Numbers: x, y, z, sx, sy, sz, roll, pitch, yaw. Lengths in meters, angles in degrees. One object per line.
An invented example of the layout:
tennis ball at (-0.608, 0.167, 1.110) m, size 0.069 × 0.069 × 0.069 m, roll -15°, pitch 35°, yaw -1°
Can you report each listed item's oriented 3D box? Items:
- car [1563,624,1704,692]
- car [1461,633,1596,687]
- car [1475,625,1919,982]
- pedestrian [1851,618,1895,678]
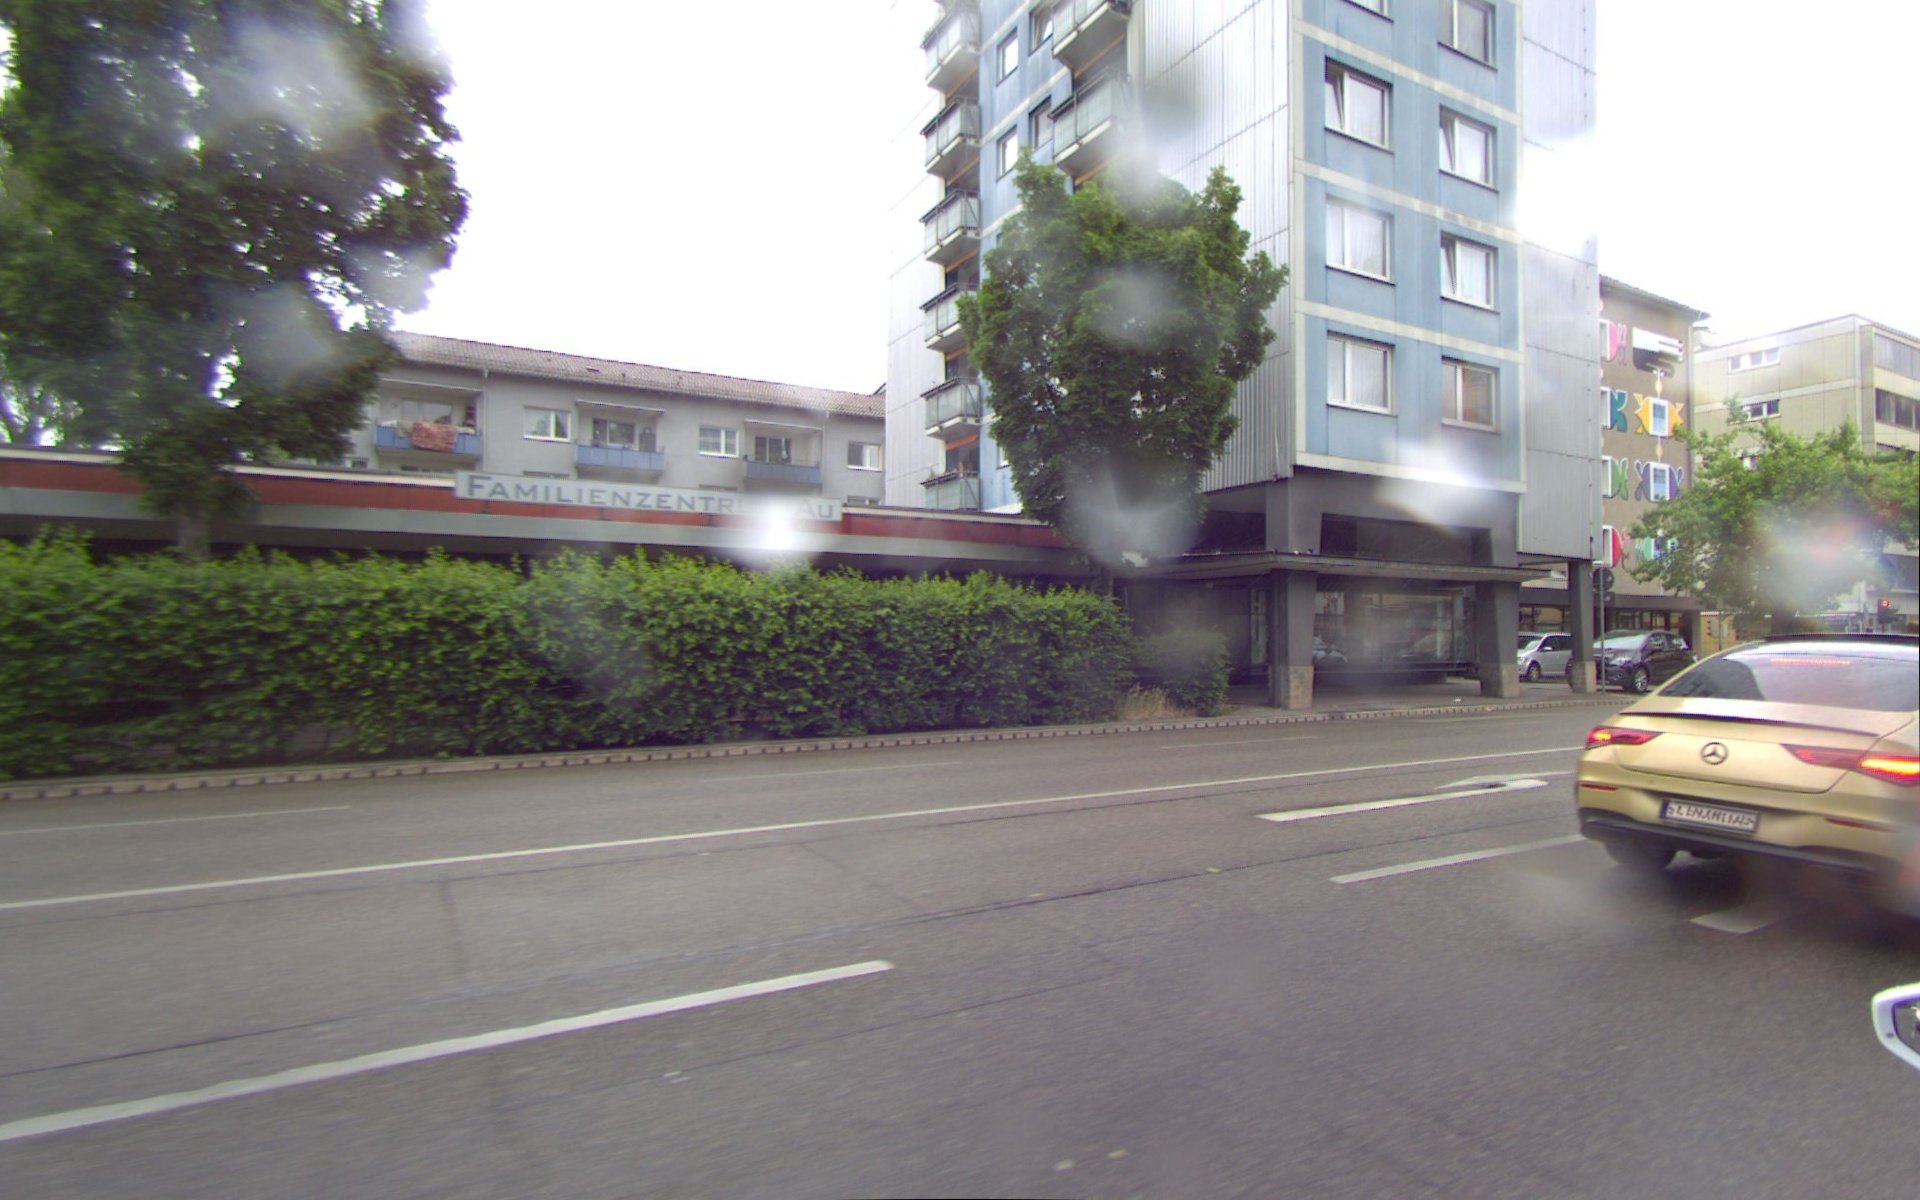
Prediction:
car at (18.442, 1.539, 27.457) m, size 4.237 × 1.728 × 1.532 m, roll 1°, pitch -1°, yaw -30°
car at (18.888, 1.955, 33.358) m, size 4.459 × 1.676 × 1.984 m, roll 2°, pitch -2°, yaw -31°
car at (5.500, 0.908, 6.155) m, size 4.532 × 1.483 × 2.057 m, roll 1°, pitch -2°, yaw -30°
pedestrian at (31.639, 1.678, 34.819) m, size 0.879 × 2.040 × 0.933 m, roll 2°, pitch -4°, yaw -39°
